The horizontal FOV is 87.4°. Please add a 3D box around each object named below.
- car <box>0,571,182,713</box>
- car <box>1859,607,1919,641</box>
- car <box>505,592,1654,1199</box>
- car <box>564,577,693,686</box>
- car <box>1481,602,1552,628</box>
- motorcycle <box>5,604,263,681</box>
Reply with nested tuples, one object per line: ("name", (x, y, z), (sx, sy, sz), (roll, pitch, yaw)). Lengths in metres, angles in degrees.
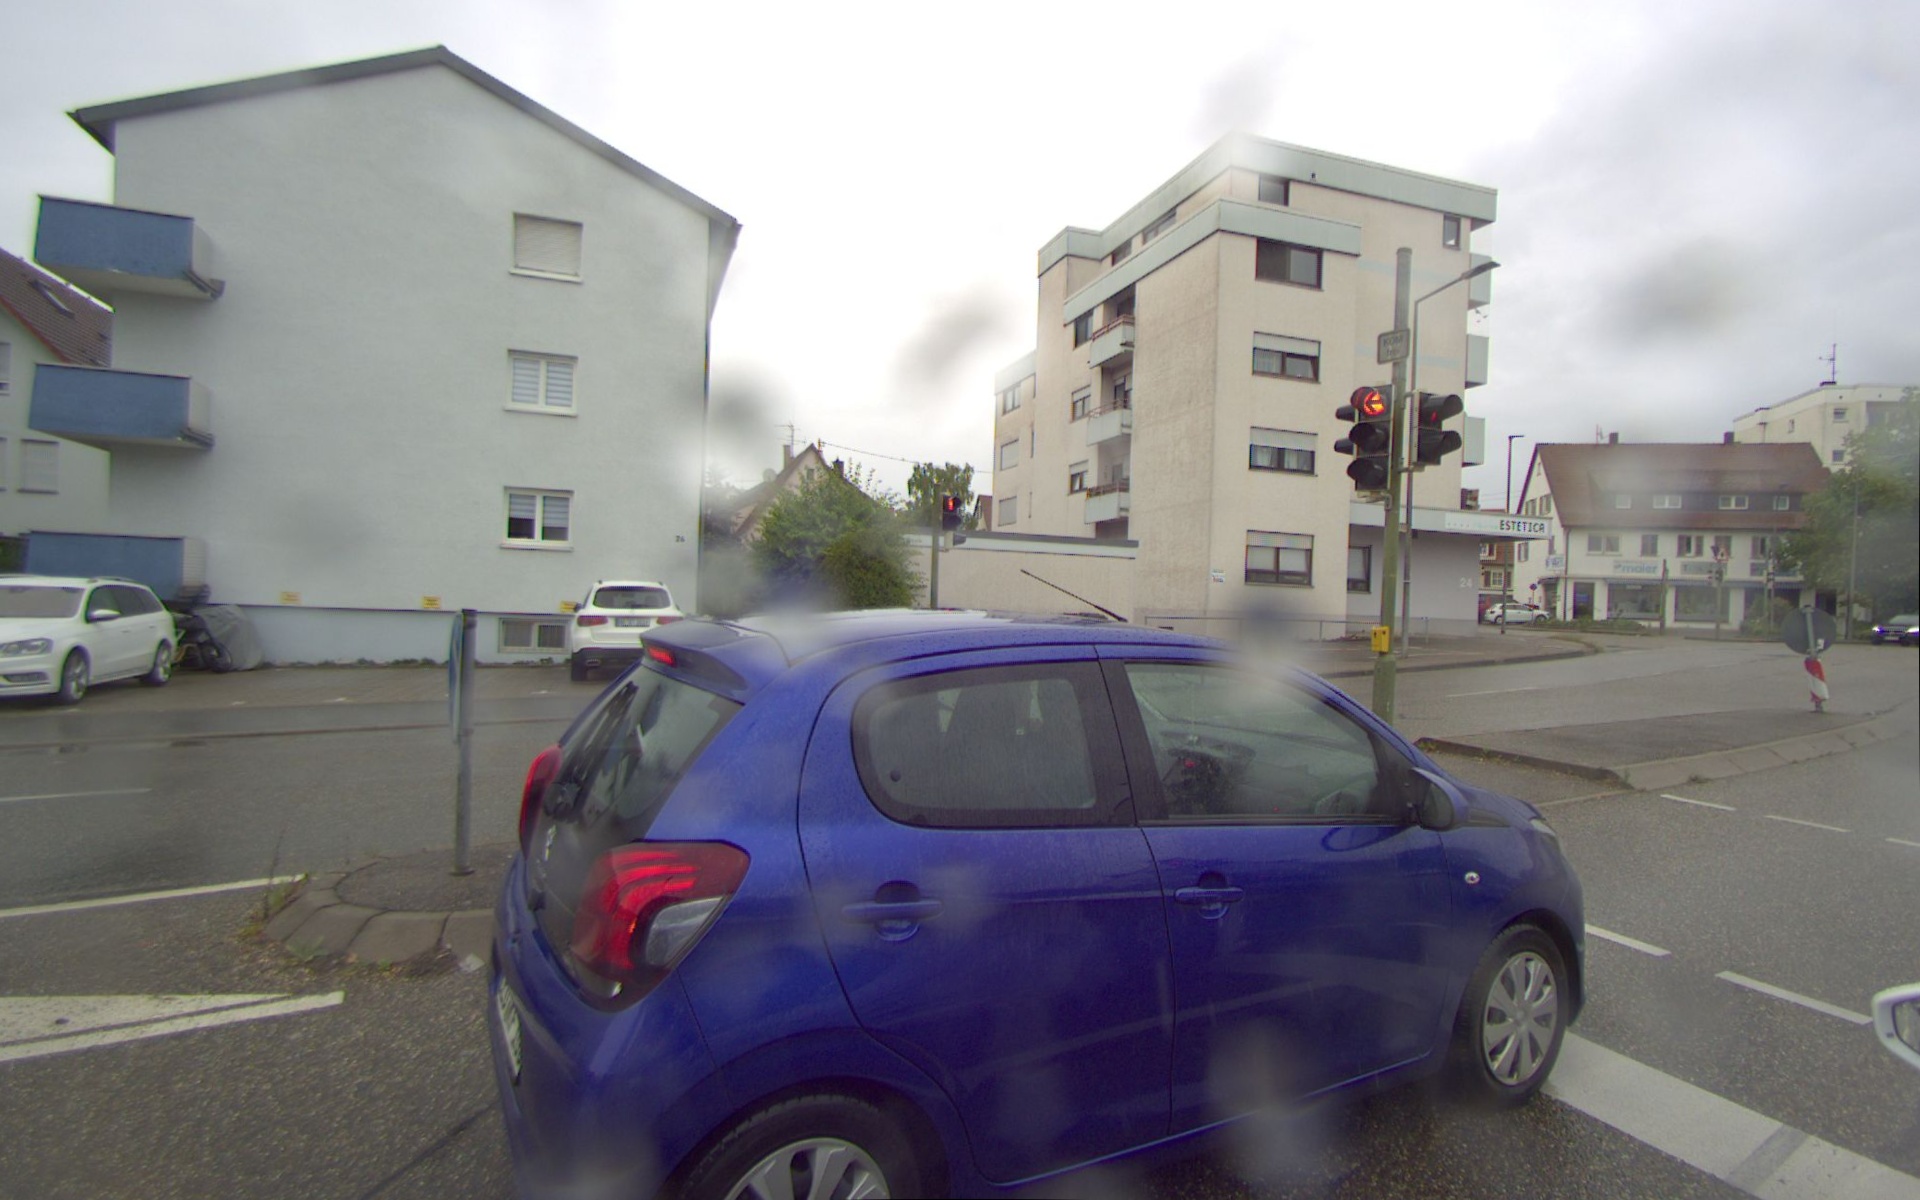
("car", (-11.361, 0.438, 12.311), (1.878, 1.493, 4.209), (1, 0, -24))
("car", (42.339, 1.061, 45.153), (3.785, 1.439, 1.770), (1, 0, -30))
("car", (0.432, 0.730, 3.110), (3.231, 1.429, 1.571), (1, 1, -30))
("car", (-5.895, 0.496, 17.833), (1.909, 1.658, 4.446), (1, 0, -19))
("car", (38.100, 1.016, 68.838), (3.887, 1.593, 1.873), (1, 1, 17))
("motorcycle", (-13.111, 0.633, 16.083), (0.864, 1.115, 3.113), (2, 1, 43))
